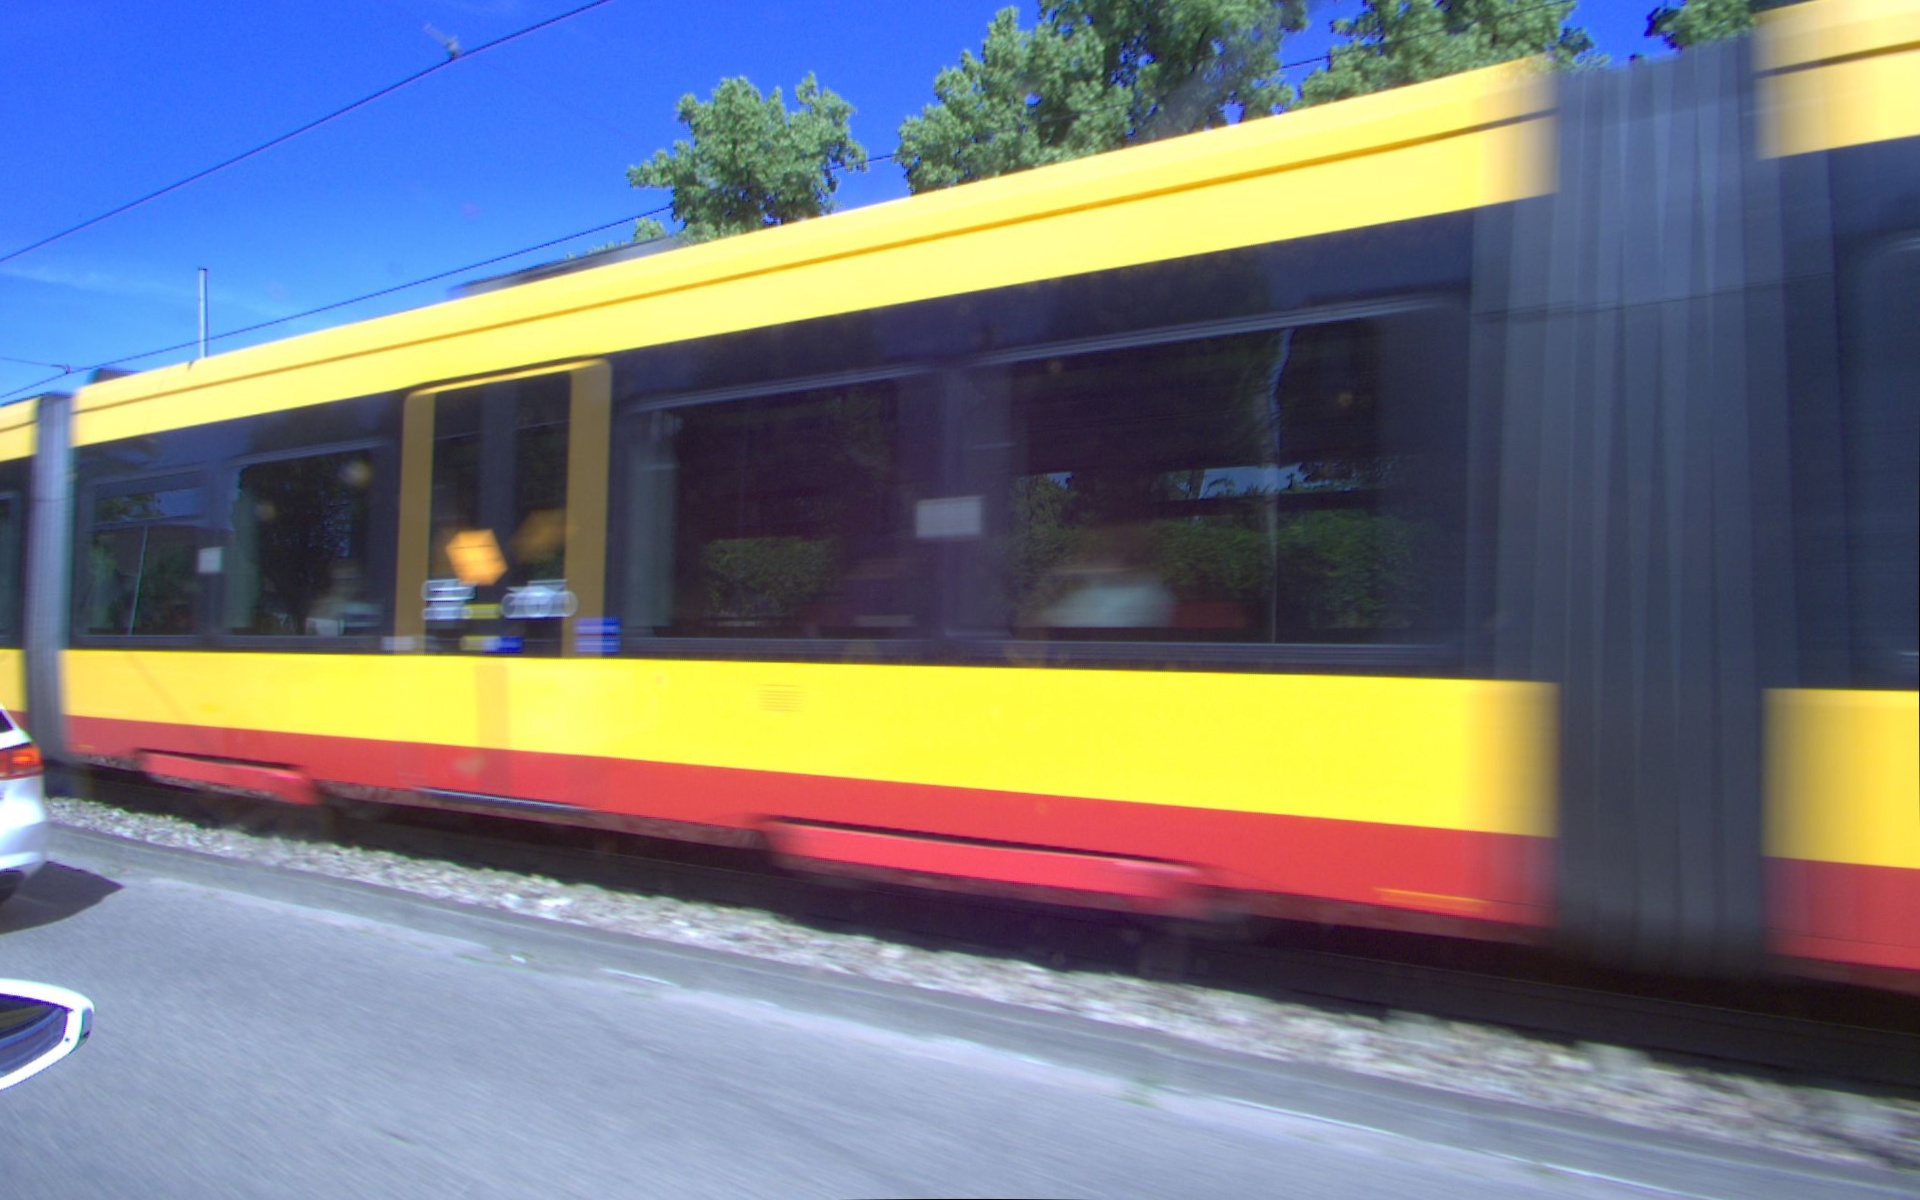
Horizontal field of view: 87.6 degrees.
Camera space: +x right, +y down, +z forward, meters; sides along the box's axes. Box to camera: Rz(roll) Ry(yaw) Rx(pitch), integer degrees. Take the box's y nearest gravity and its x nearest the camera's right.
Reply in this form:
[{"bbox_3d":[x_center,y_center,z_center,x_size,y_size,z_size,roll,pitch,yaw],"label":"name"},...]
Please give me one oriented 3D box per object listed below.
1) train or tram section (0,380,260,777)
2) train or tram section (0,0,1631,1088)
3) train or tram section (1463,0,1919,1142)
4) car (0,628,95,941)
[{"bbox_3d":[-14.337,-0.130,13.744,13.111,3.796,2.508,-1,0,30],"label":"train or tram section"},{"bbox_3d":[-3.037,-0.236,7.440,13.102,3.796,2.509,-1,0,28],"label":"train or tram section"},{"bbox_3d":[8.202,-0.347,1.668,13.096,3.796,2.511,-1,0,26],"label":"train or tram section"},{"bbox_3d":[-6.697,0.884,5.310,4.388,1.470,1.690,0,-1,27],"label":"car"}]
